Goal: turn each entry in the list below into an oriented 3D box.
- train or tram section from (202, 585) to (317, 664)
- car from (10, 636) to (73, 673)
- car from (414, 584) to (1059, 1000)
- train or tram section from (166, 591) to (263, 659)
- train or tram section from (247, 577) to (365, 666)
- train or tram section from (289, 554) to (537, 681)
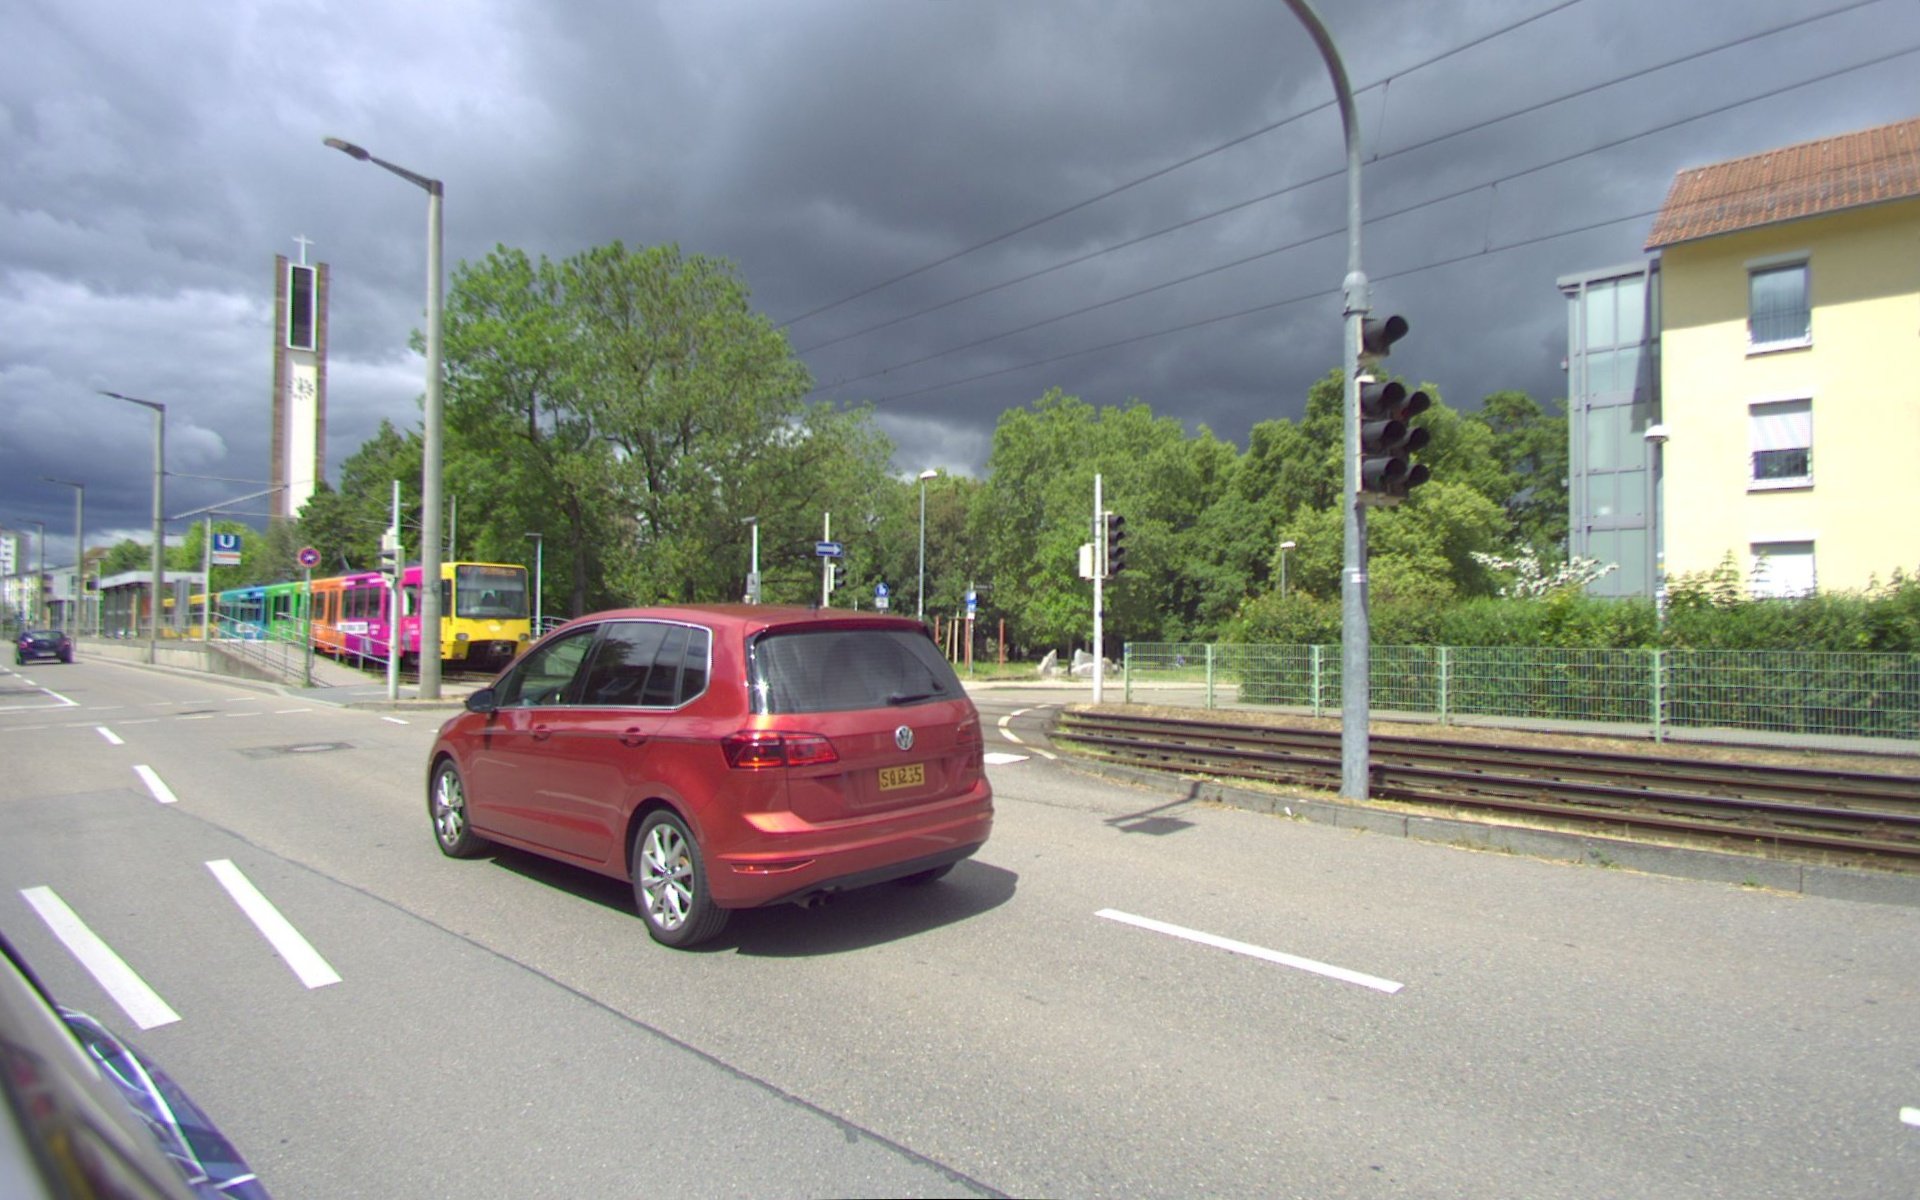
[{"bbox_3d":[-38.275,1.324,55.039,11.790,3.892,2.947,-2,-1,44],"label":"train or tram section"},{"bbox_3d":[-38.647,2.251,42.551,4.010,1.452,1.698,-1,-2,44],"label":"car"},{"bbox_3d":[-1.532,0.759,5.801,4.000,1.564,1.645,-2,-1,43],"label":"car"},{"bbox_3d":[-46.844,1.578,63.401,12.205,3.892,2.947,-2,-1,44],"label":"train or tram section"},{"bbox_3d":[-31.105,1.016,47.959,8.381,3.892,2.947,-2,-1,44],"label":"train or tram section"},{"bbox_3d":[-21.476,0.730,38.516,18.544,3.892,2.947,-2,-1,44],"label":"train or tram section"}]
